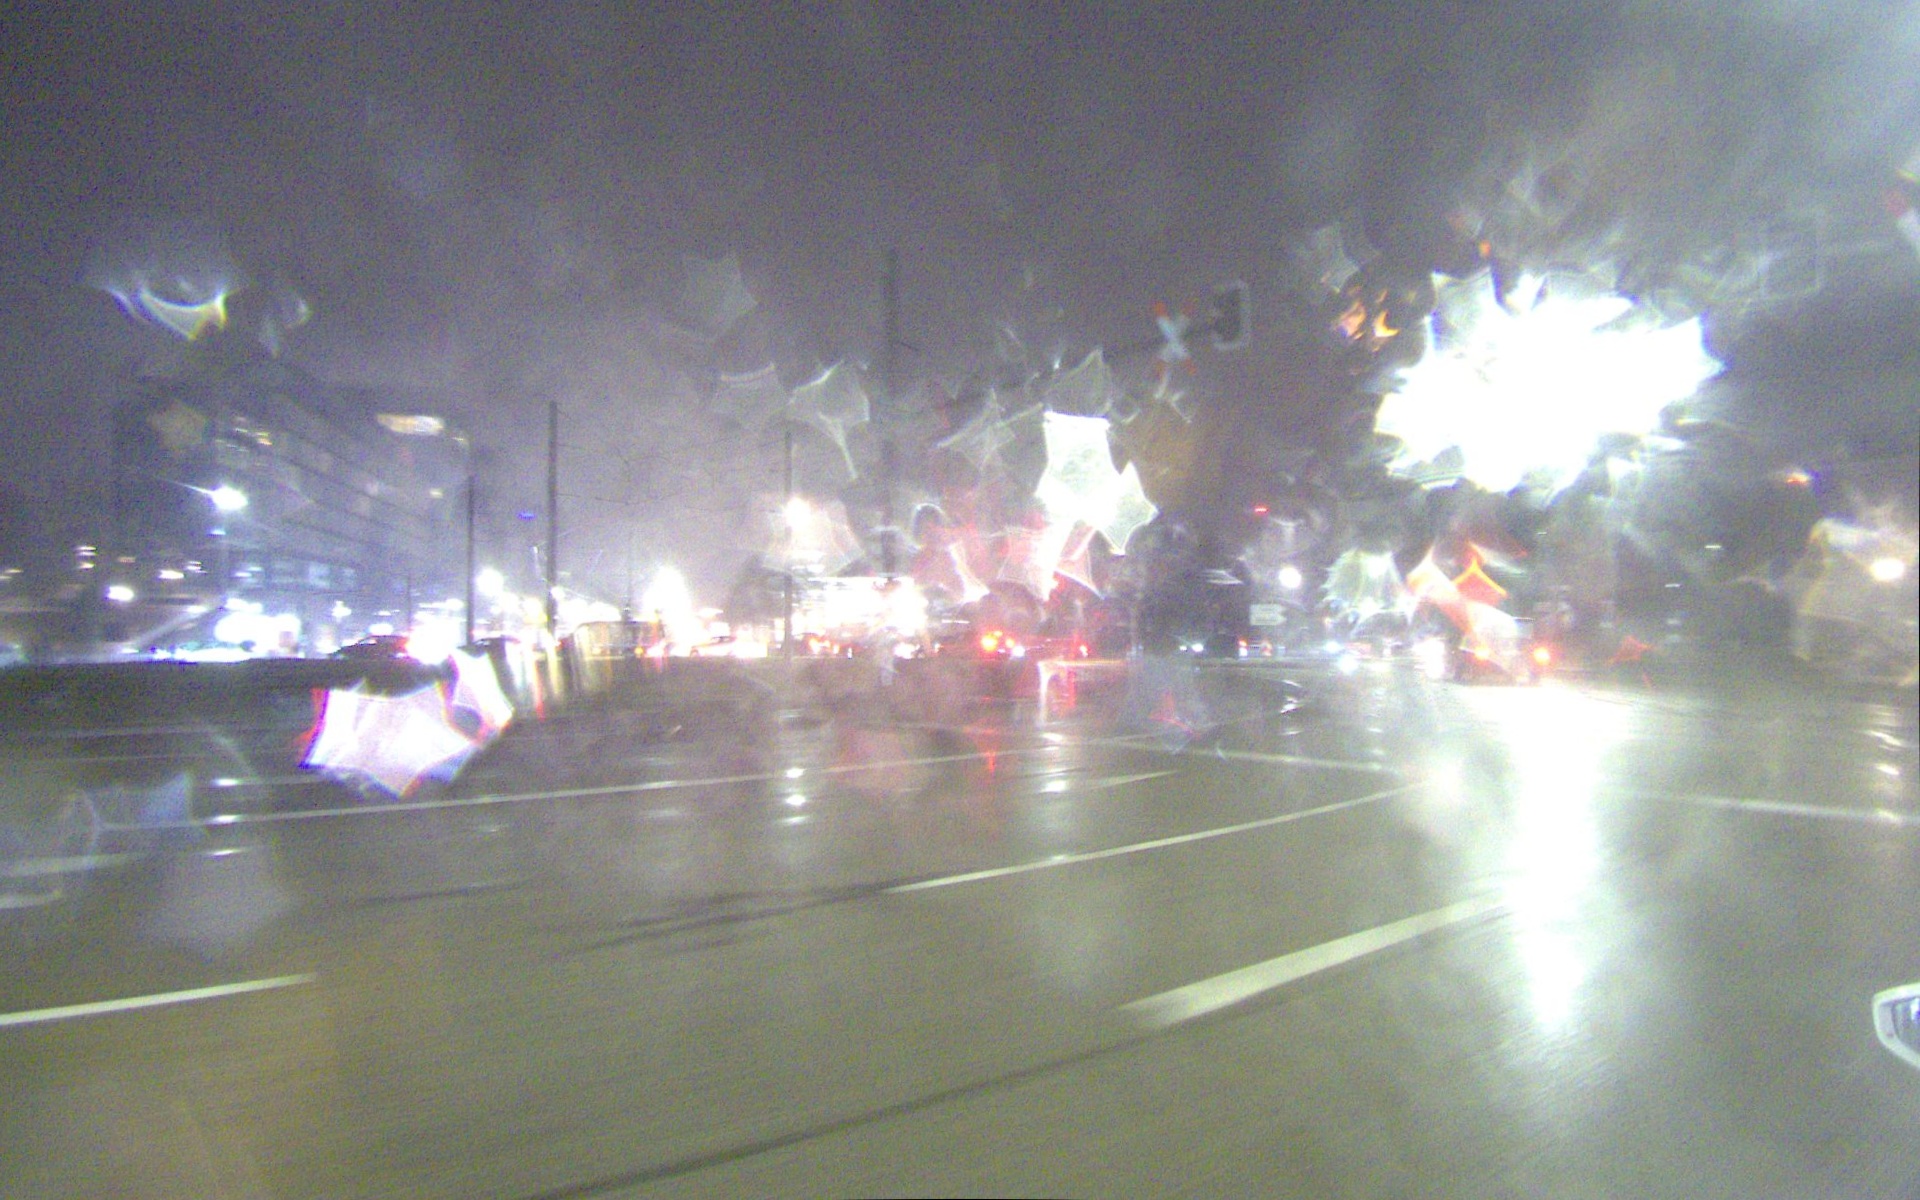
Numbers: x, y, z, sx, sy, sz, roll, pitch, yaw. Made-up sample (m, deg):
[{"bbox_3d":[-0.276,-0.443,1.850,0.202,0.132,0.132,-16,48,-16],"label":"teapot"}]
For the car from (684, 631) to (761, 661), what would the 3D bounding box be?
[{"bbox_3d":[-13.719,2.655,58.079,3.919,1.637,1.838,1,-1,12],"label":"car"}]

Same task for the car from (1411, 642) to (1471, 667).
[{"bbox_3d":[36.873,4.165,76.971,4.338,1.781,1.865,2,-1,-27],"label":"car"}]

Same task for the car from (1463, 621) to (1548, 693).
[{"bbox_3d":[16.854,1.708,31.231,1.962,2.040,4.555,1,-1,24],"label":"car"}]

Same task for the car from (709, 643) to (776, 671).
[{"bbox_3d":[-13.154,3.443,60.921,3.556,1.599,1.738,1,-1,16],"label":"car"}]

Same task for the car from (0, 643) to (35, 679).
[{"bbox_3d":[-46.228,2.867,47.034,1.738,1.639,3.874,1,-1,19],"label":"car"}]

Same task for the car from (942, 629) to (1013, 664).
[{"bbox_3d":[0.782,2.221,48.565,1.716,1.599,3.935,2,-1,-29],"label":"car"}]

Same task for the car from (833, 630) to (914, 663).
[{"bbox_3d":[-4.592,2.433,53.253,3.895,1.599,1.873,0,-1,31],"label":"car"}]

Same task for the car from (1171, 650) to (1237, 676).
[{"bbox_3d":[16.112,4.148,66.245,3.829,1.661,1.857,1,-1,-18],"label":"car"}]

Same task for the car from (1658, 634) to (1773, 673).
[{"bbox_3d":[35.784,2.513,47.669,1.894,1.706,3.973,2,-1,-26],"label":"car"}]

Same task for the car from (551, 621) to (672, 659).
[{"bbox_3d":[-20.418,2.329,59.045,6.188,2.117,2.516,1,-1,2],"label":"car"}]

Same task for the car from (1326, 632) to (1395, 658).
[{"bbox_3d":[28.813,3.254,72.217,4.555,1.759,1.988,2,-1,-24],"label":"car"}]

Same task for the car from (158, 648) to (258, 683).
[{"bbox_3d":[-39.452,3.393,52.770,1.738,1.639,3.874,1,-1,19],"label":"car"}]

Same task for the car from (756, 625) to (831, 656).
[{"bbox_3d":[-9.250,2.207,55.807,3.893,1.599,1.734,0,-1,29],"label":"car"}]

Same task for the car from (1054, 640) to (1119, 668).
[{"bbox_3d":[7.831,3.367,62.394,3.920,1.604,1.597,1,-1,3],"label":"car"}]

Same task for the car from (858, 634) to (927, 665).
[{"bbox_3d":[-3.790,2.751,56.208,3.567,1.599,1.732,0,-1,34],"label":"car"}]

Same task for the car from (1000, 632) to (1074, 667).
[{"bbox_3d":[3.783,2.426,49.786,1.721,1.599,3.590,2,-2,-37],"label":"car"}]
